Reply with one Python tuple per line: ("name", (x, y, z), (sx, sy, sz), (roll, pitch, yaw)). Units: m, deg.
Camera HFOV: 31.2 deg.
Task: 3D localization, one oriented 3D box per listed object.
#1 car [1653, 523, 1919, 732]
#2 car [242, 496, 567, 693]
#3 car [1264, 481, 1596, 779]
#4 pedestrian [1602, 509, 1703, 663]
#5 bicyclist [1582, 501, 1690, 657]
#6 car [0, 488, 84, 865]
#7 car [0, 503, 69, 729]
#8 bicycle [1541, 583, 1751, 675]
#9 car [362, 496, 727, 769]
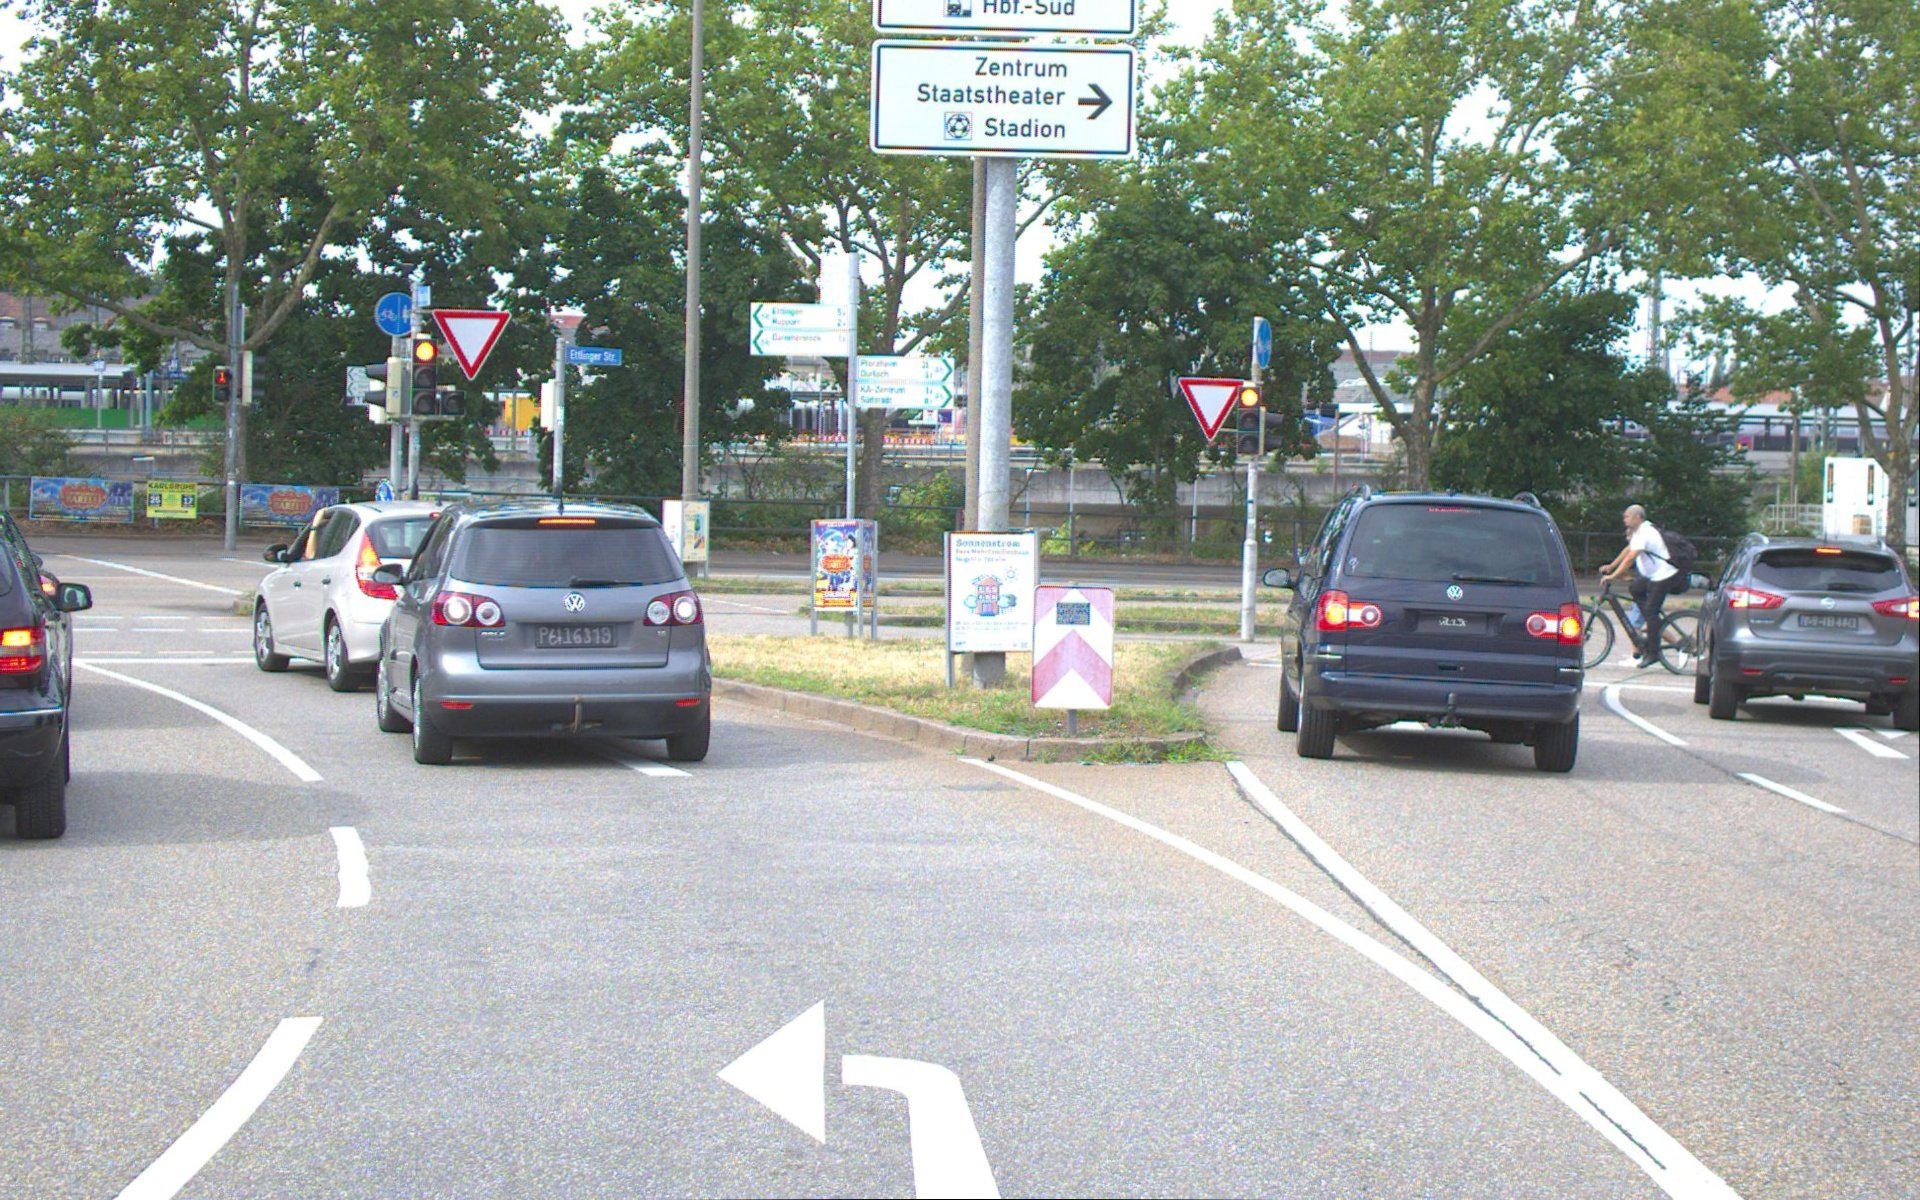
("car", (7.327, 0.193, 30.449), (1.750, 1.637, 4.137), (3, 1, 4))
("car", (-4.614, -0.099, 28.098), (1.740, 1.477, 4.083), (0, 2, -22))
("car", (3.026, 0.143, 22.898), (1.750, 1.719, 4.138), (3, 1, 3))
("pedestrian", (7.914, -0.167, 39.323), (1.047, 1.704, 0.853), (2, 2, 11))
("bicyclist", (7.488, -0.247, 38.105), (1.112, 1.690, 0.813), (1, 2, 9))
("car", (-5.216, 0.263, 16.827), (1.756, 1.570, 4.038), (1, 3, -15))
("car", (-7.519, 0.023, 24.133), (1.818, 1.409, 4.778), (1, 2, -22))
("bicycle", (7.587, 0.312, 38.110), (2.229, 0.949, 0.811), (1, 2, 8))
("car", (-2.707, 0.128, 21.605), (1.740, 1.541, 4.083), (0, 2, -15))
